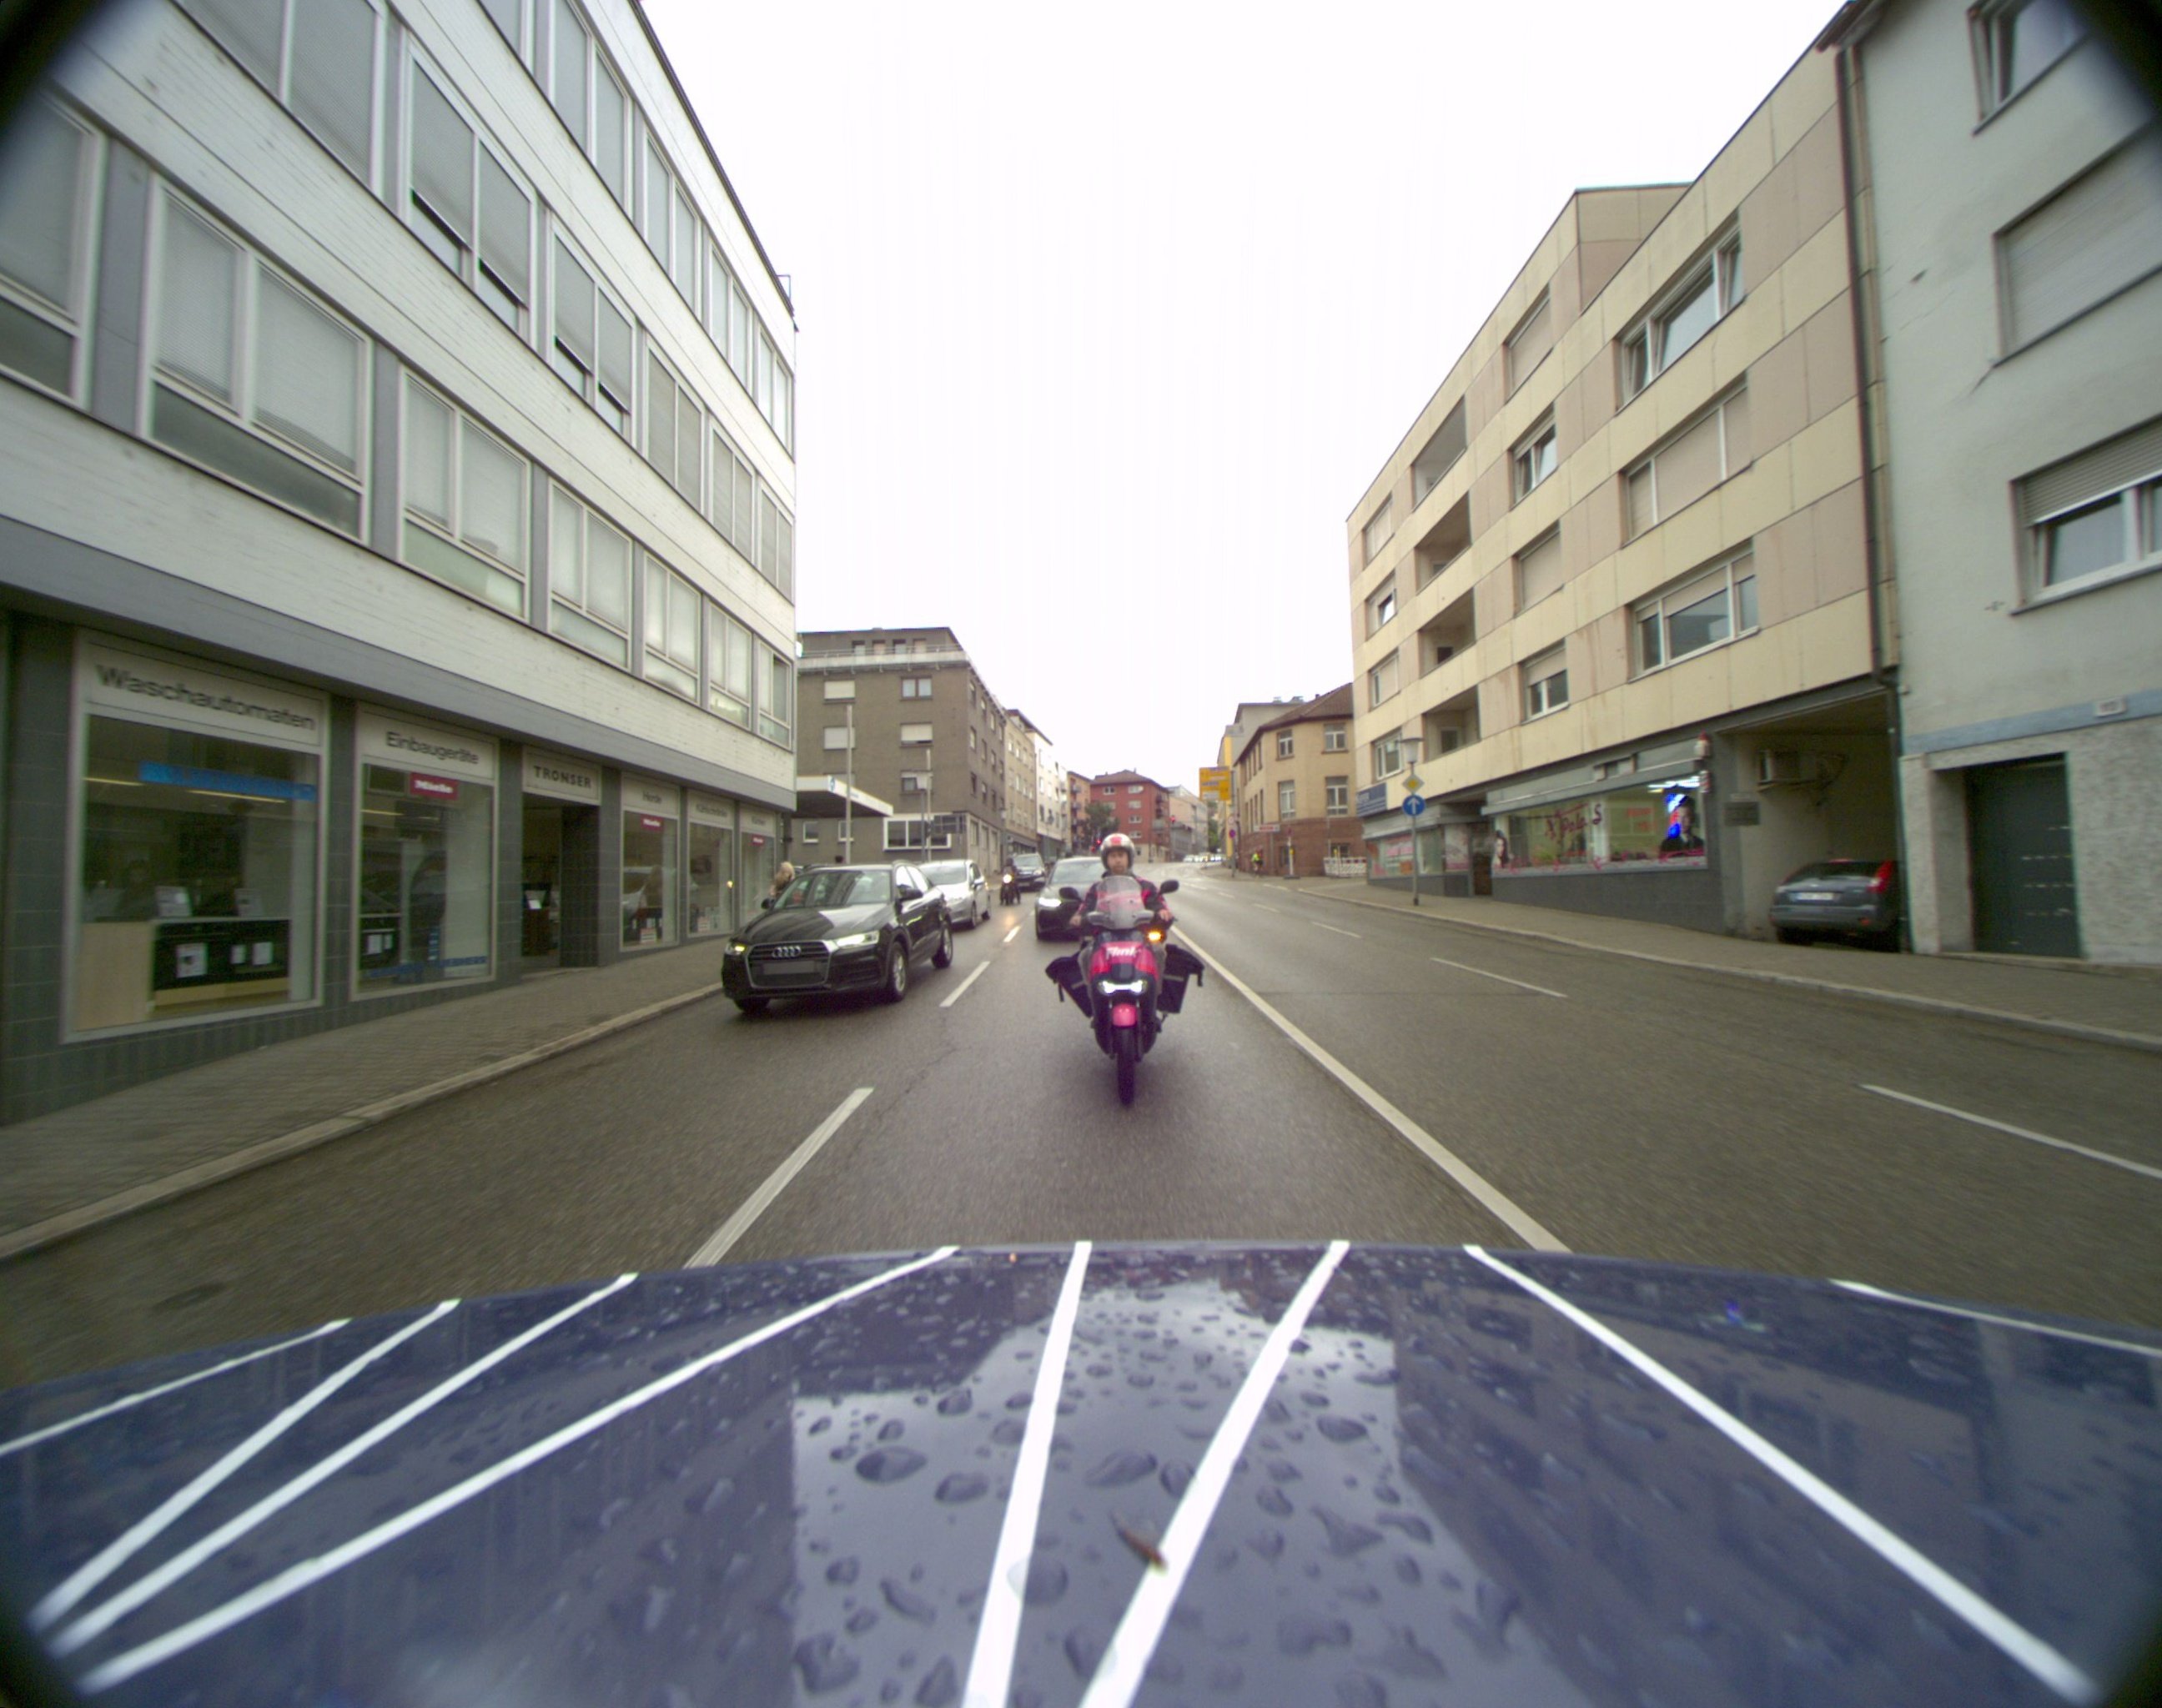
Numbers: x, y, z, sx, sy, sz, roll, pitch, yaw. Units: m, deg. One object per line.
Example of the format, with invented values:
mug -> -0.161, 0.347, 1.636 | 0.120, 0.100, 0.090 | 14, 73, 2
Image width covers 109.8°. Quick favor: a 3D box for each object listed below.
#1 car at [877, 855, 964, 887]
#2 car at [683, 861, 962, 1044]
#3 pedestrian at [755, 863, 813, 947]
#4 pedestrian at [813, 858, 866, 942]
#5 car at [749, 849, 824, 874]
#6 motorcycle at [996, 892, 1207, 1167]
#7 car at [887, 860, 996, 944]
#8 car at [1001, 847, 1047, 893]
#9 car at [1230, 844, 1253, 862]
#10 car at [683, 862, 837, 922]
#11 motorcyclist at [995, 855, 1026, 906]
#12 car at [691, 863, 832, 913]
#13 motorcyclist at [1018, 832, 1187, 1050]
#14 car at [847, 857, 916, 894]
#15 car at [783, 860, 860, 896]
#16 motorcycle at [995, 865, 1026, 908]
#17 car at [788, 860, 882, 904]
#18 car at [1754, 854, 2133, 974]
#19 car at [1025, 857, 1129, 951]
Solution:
car -> -9.451, 0.987, 44.846 | 4.531, 1.495, 2.001 | -4, 1, 5
car -> -2.852, 0.984, 9.504 | 1.827, 1.551, 4.201 | -4, 1, 2
pedestrian -> -5.714, 0.968, 14.656 | 0.767, 1.542, 0.890 | 1, 1, -2
pedestrian -> -5.136, 0.945, 16.199 | 0.786, 1.696, 1.120 | 1, 1, -2
car -> -17.531, 0.454, 45.293 | 3.751, 1.445, 1.795 | -1, -1, 4
motorcycle -> 0.182, 0.987, 5.309 | 1.010, 1.219, 2.694 | -4, 0, 3
car -> -3.135, 1.013, 17.930 | 1.831, 1.532, 4.251 | -5, 1, -2
car -> -2.535, 0.649, 34.001 | 1.849, 1.893, 3.763 | -2, 1, -4
car -> 14.151, -0.108, 67.092 | 1.861, 1.445, 3.966 | -5, 0, 11
car -> -9.495, 1.083, 22.805 | 4.002, 1.521, 1.761 | -2, 1, -15
motorcyclist -> -2.316, 0.863, 25.057 | 0.847, 1.580, 0.962 | -5, 1, -4
car -> -10.444, 1.085, 25.128 | 4.001, 1.393, 1.669 | -2, 1, -13
motorcyclist -> 0.163, 0.576, 5.426 | 1.010, 1.373, 0.835 | -4, 1, 3
car -> -9.095, 0.940, 34.992 | 1.792, 1.503, 4.437 | -2, 1, 2
car -> -11.685, 1.056, 34.523 | 1.792, 1.502, 4.420 | 2, -1, 2
motorcycle -> -2.295, 1.044, 25.053 | 0.847, 1.219, 2.372 | -5, 1, -4
car -> -9.245, 1.006, 29.008 | 1.792, 1.407, 4.616 | -1, 1, 4
car -> 12.637, 0.864, 11.262 | 3.999, 1.342, 1.678 | 5, -2, -6
car -> 0.053, 0.871, 15.225 | 1.705, 1.452, 4.319 | -4, 0, 3
